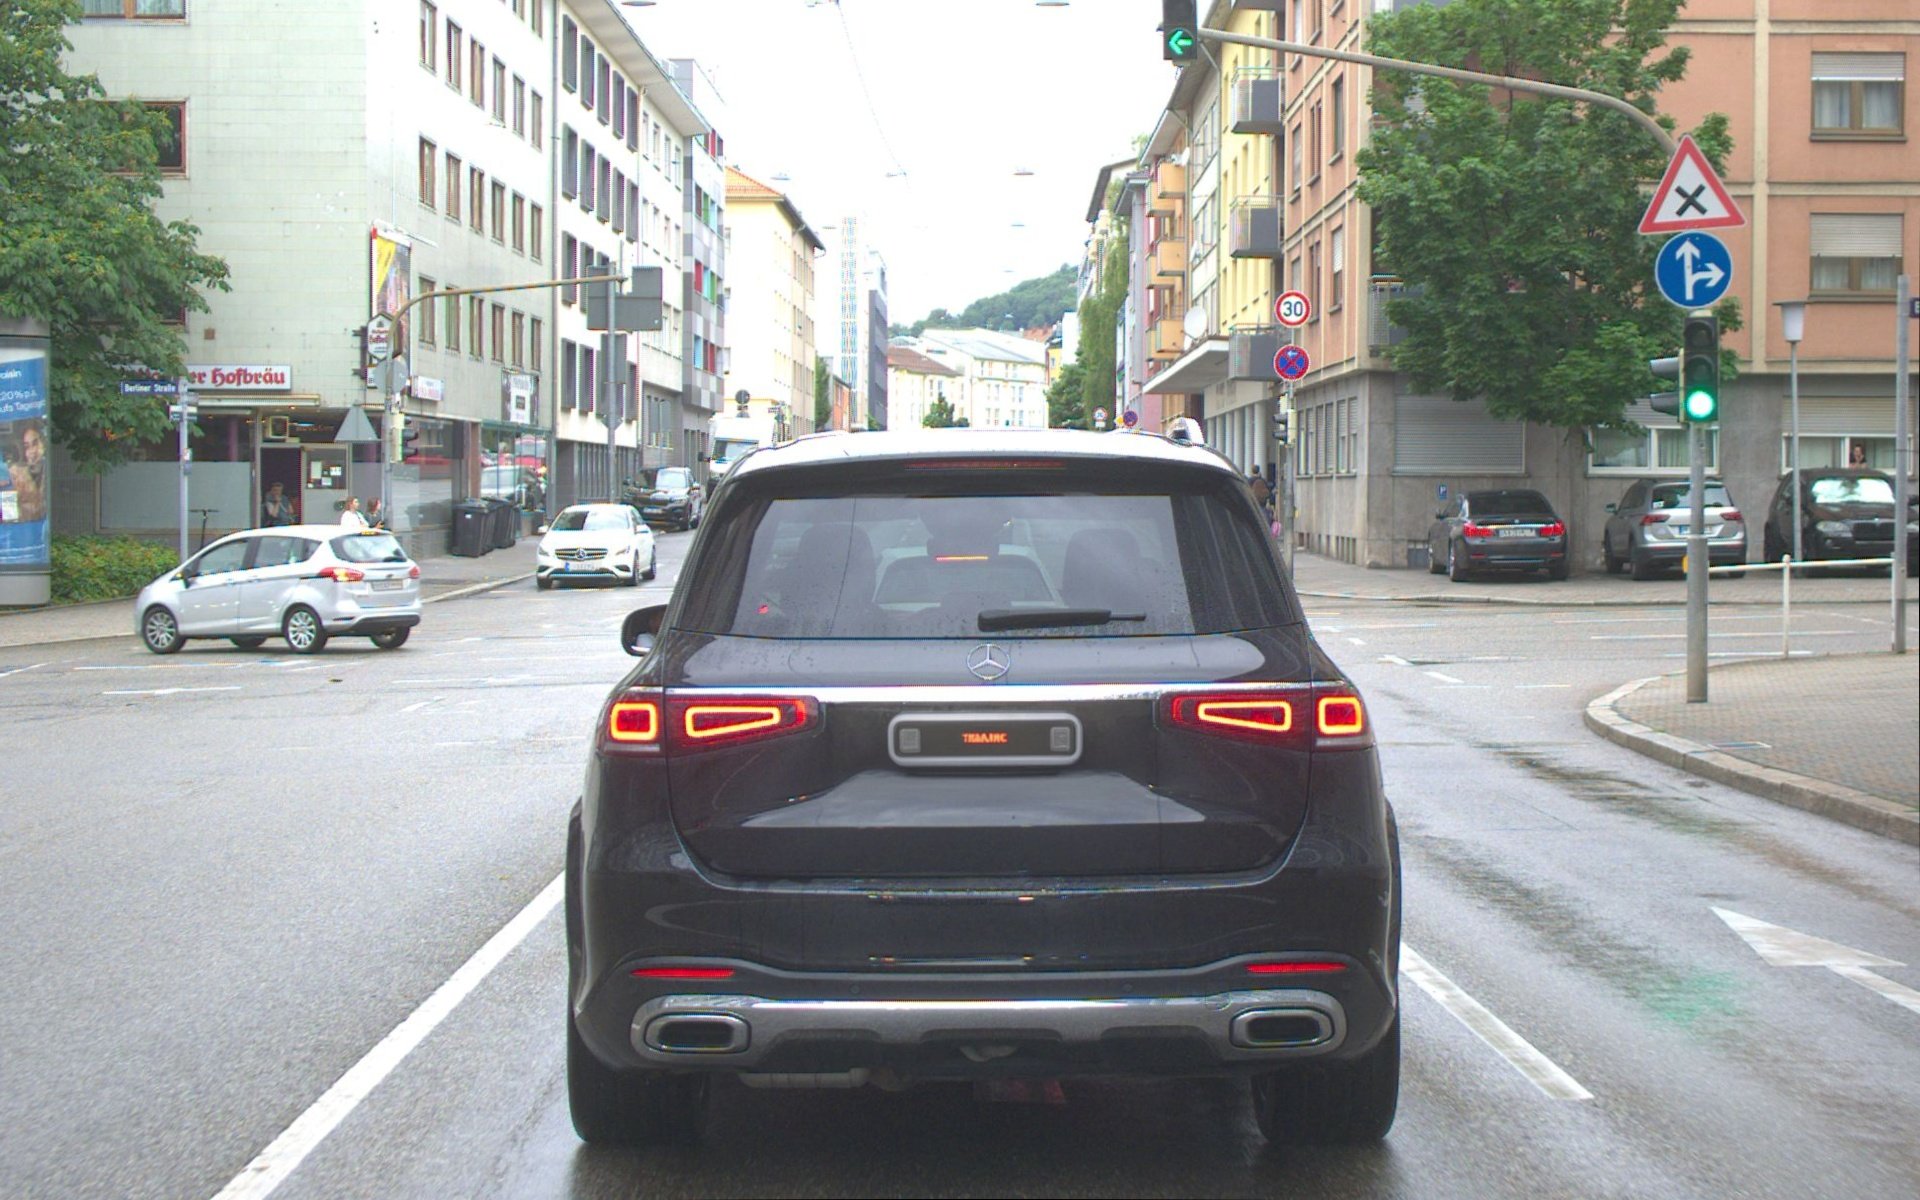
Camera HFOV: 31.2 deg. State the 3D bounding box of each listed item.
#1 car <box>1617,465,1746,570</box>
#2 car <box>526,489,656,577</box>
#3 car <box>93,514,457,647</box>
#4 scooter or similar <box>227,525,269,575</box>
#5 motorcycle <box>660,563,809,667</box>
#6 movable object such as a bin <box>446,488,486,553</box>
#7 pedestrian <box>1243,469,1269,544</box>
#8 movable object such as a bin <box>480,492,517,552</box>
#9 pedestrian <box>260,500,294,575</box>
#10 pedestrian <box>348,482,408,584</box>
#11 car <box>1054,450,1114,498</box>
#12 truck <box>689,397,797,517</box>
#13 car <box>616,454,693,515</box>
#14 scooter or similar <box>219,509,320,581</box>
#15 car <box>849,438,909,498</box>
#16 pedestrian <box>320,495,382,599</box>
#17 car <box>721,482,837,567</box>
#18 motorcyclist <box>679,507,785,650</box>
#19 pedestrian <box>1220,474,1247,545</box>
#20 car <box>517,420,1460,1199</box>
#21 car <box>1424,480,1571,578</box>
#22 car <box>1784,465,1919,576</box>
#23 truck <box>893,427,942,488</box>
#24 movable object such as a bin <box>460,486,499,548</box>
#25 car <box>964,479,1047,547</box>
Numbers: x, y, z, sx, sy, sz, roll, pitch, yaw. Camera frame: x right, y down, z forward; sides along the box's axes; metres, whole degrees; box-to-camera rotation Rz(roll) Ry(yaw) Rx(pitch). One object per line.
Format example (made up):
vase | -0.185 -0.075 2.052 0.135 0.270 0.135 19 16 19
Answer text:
car | 11.888 -1.387 56.837 1.987 1.654 3.999 0 2 11
car | -6.681 -1.240 62.661 1.844 1.507 4.000 -1 2 1
car | -8.716 -0.250 43.697 4.256 1.594 2.024 0 2 31
scooter or similar | -12.381 -0.875 59.766 0.458 0.840 1.323 1 1 -22
motorcycle | -2.353 0.139 35.560 0.862 1.003 2.252 -1 2 -22
movable object such as a bin | -10.220 -1.638 71.078 0.697 1.311 0.782 1 1 -1
pedestrian | 6.285 -1.992 73.007 0.479 1.560 0.558 1 5 1
movable object such as a bin | -10.187 -1.719 75.839 0.697 1.311 0.782 1 1 -1
pedestrian | -12.767 -1.168 64.228 0.518 1.395 0.578 1 1 -3
pedestrian | -9.699 -1.124 57.288 0.708 1.641 0.759 -1 5 -36
car | 4.437 -4.465 122.465 2.016 1.557 5.154 1 1 3
truck | -7.396 -4.846 118.232 2.807 3.819 8.144 1 1 2
car | -8.294 -3.129 93.651 1.723 1.597 4.000 -1 1 0
scooter or similar | -11.639 -0.927 57.959 1.556 1.186 0.501 1 1 -29
car | -3.133 -5.130 134.097 2.065 2.233 4.620 -1 1 2
pedestrian | -10.006 -0.876 56.456 0.708 1.641 0.759 -1 5 -36
car | -3.310 -1.413 63.486 1.844 1.484 4.000 -1 2 1
motorcyclist | -2.365 -0.236 35.607 0.904 1.448 0.747 -1 2 -20
pedestrian | 6.097 -2.024 76.644 0.520 1.533 0.569 1 5 1
car | -0.018 0.454 9.775 2.020 1.733 4.748 0 1 -2
car | 8.905 -1.213 57.286 1.844 1.549 4.796 -1 2 2
car | 14.612 -1.316 56.321 1.987 1.713 3.998 -1 2 12
truck | -2.818 -9.578 232.356 2.807 3.819 8.144 1 1 2
movable object such as a bin | -10.209 -1.760 73.100 0.697 1.311 0.782 1 1 -1
car | 1.044 -2.001 78.892 1.844 1.484 4.000 -1 1 1
